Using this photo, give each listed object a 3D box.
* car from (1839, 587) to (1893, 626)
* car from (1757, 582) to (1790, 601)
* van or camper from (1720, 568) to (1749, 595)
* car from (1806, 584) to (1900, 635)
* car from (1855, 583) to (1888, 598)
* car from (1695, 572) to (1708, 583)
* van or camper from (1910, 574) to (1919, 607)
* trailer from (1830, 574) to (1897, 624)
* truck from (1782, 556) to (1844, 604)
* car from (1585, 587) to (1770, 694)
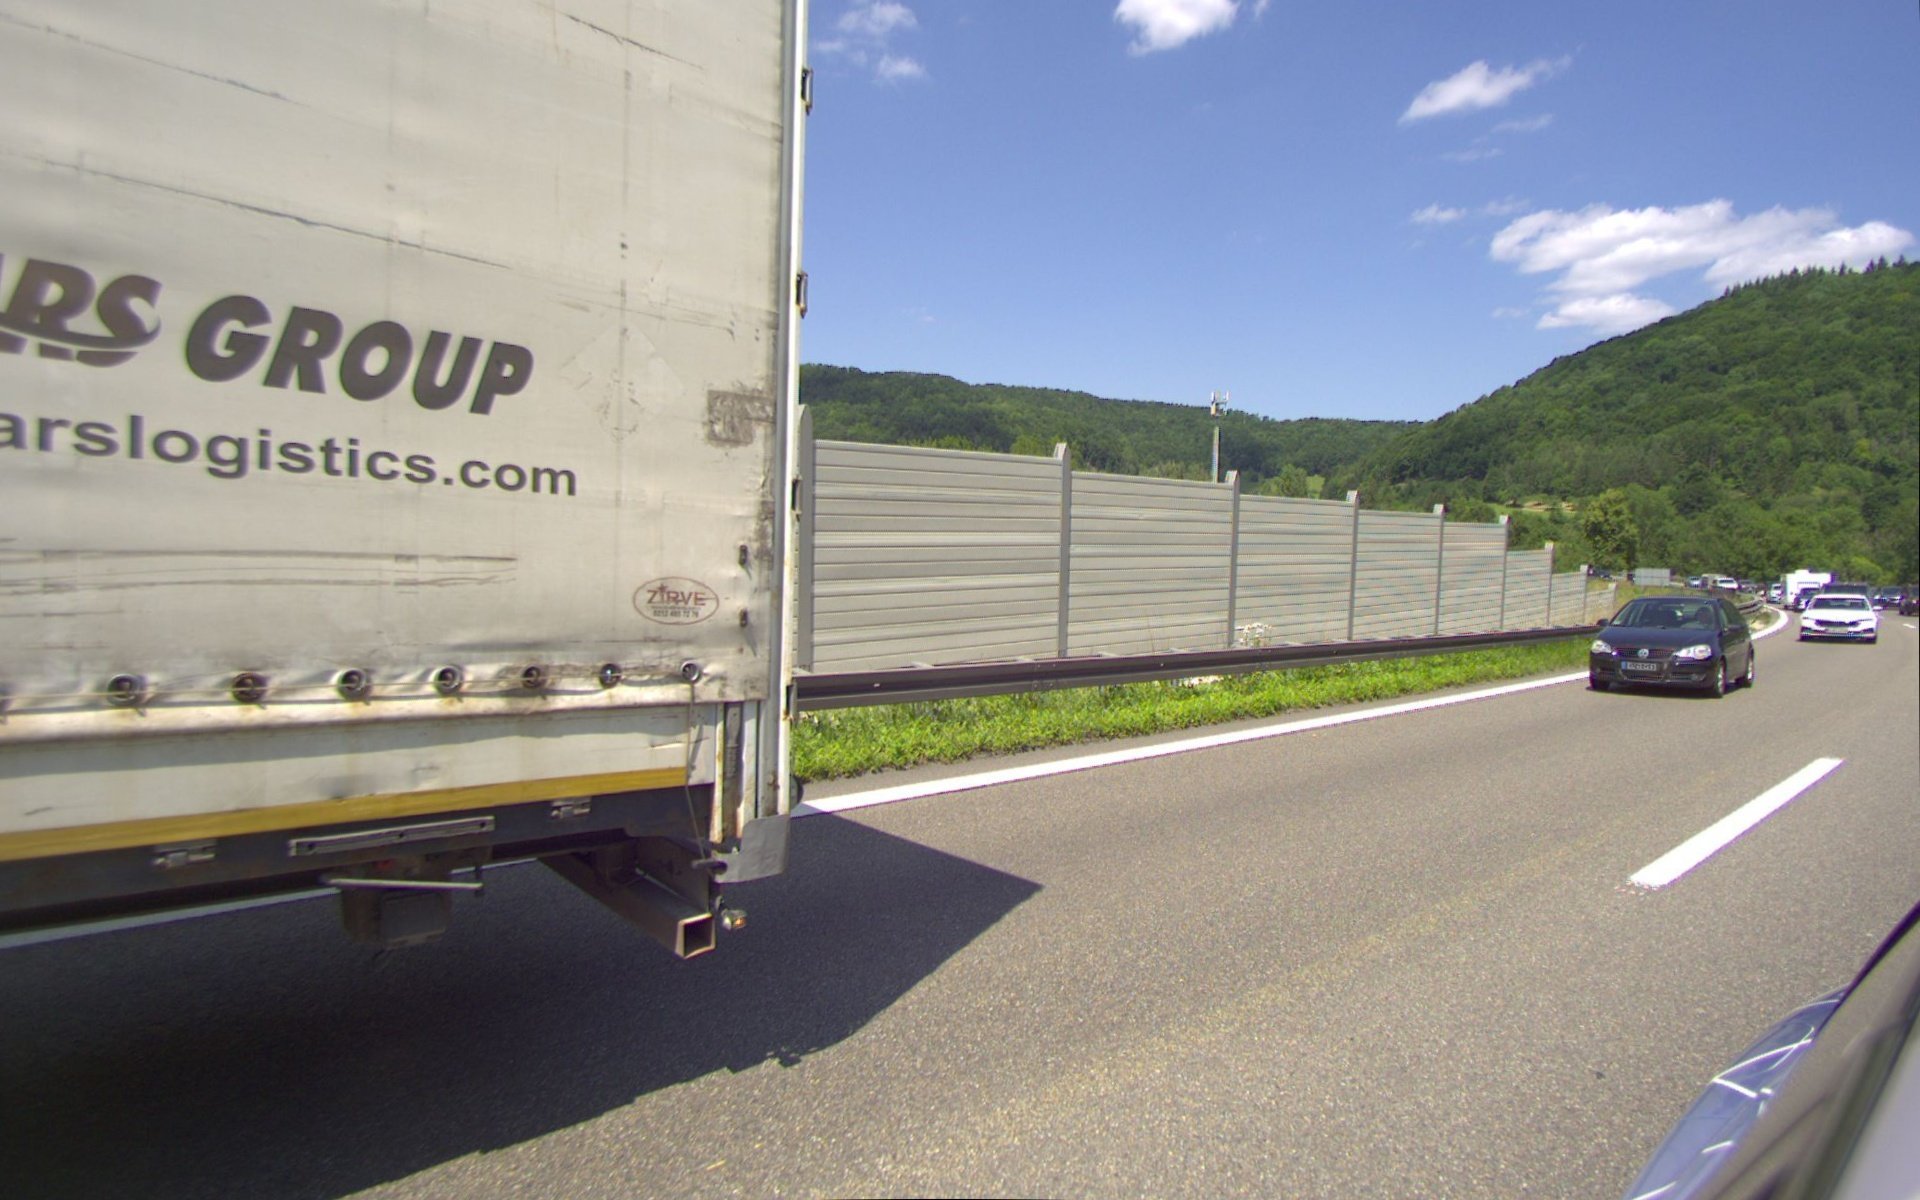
[{"bbox_3d":[36.179,0.227,40.414,1.485,1.400,3.681,4,3,42],"label":"car"},{"bbox_3d":[69.367,-0.711,86.313,1.686,1.552,3.638,-2,-1,32],"label":"car"},{"bbox_3d":[90.145,-2.104,117.845,1.894,3.065,4.825,1,1,29],"label":"van or camper"},{"bbox_3d":[27.430,0.299,31.054,3.660,1.448,1.904,1,0,-45],"label":"car"},{"bbox_3d":[73.207,-0.769,81.291,1.481,1.123,3.177,0,1,33],"label":"car"},{"bbox_3d":[107.985,-3.260,147.428,1.236,1.497,2.927,-2,-1,32],"label":"car"},{"bbox_3d":[56.296,-0.532,58.349,1.808,1.890,3.565,0,1,37],"label":"van or camper"},{"bbox_3d":[38.636,-0.070,43.356,1.992,1.994,3.941,2,1,40],"label":"trailer"},{"bbox_3d":[59.046,-1.346,70.181,2.587,3.147,6.772,-2,-1,35],"label":"truck"},{"bbox_3d":[11.140,0.523,15.621,3.775,1.440,1.693,-1,1,-44],"label":"car"}]
